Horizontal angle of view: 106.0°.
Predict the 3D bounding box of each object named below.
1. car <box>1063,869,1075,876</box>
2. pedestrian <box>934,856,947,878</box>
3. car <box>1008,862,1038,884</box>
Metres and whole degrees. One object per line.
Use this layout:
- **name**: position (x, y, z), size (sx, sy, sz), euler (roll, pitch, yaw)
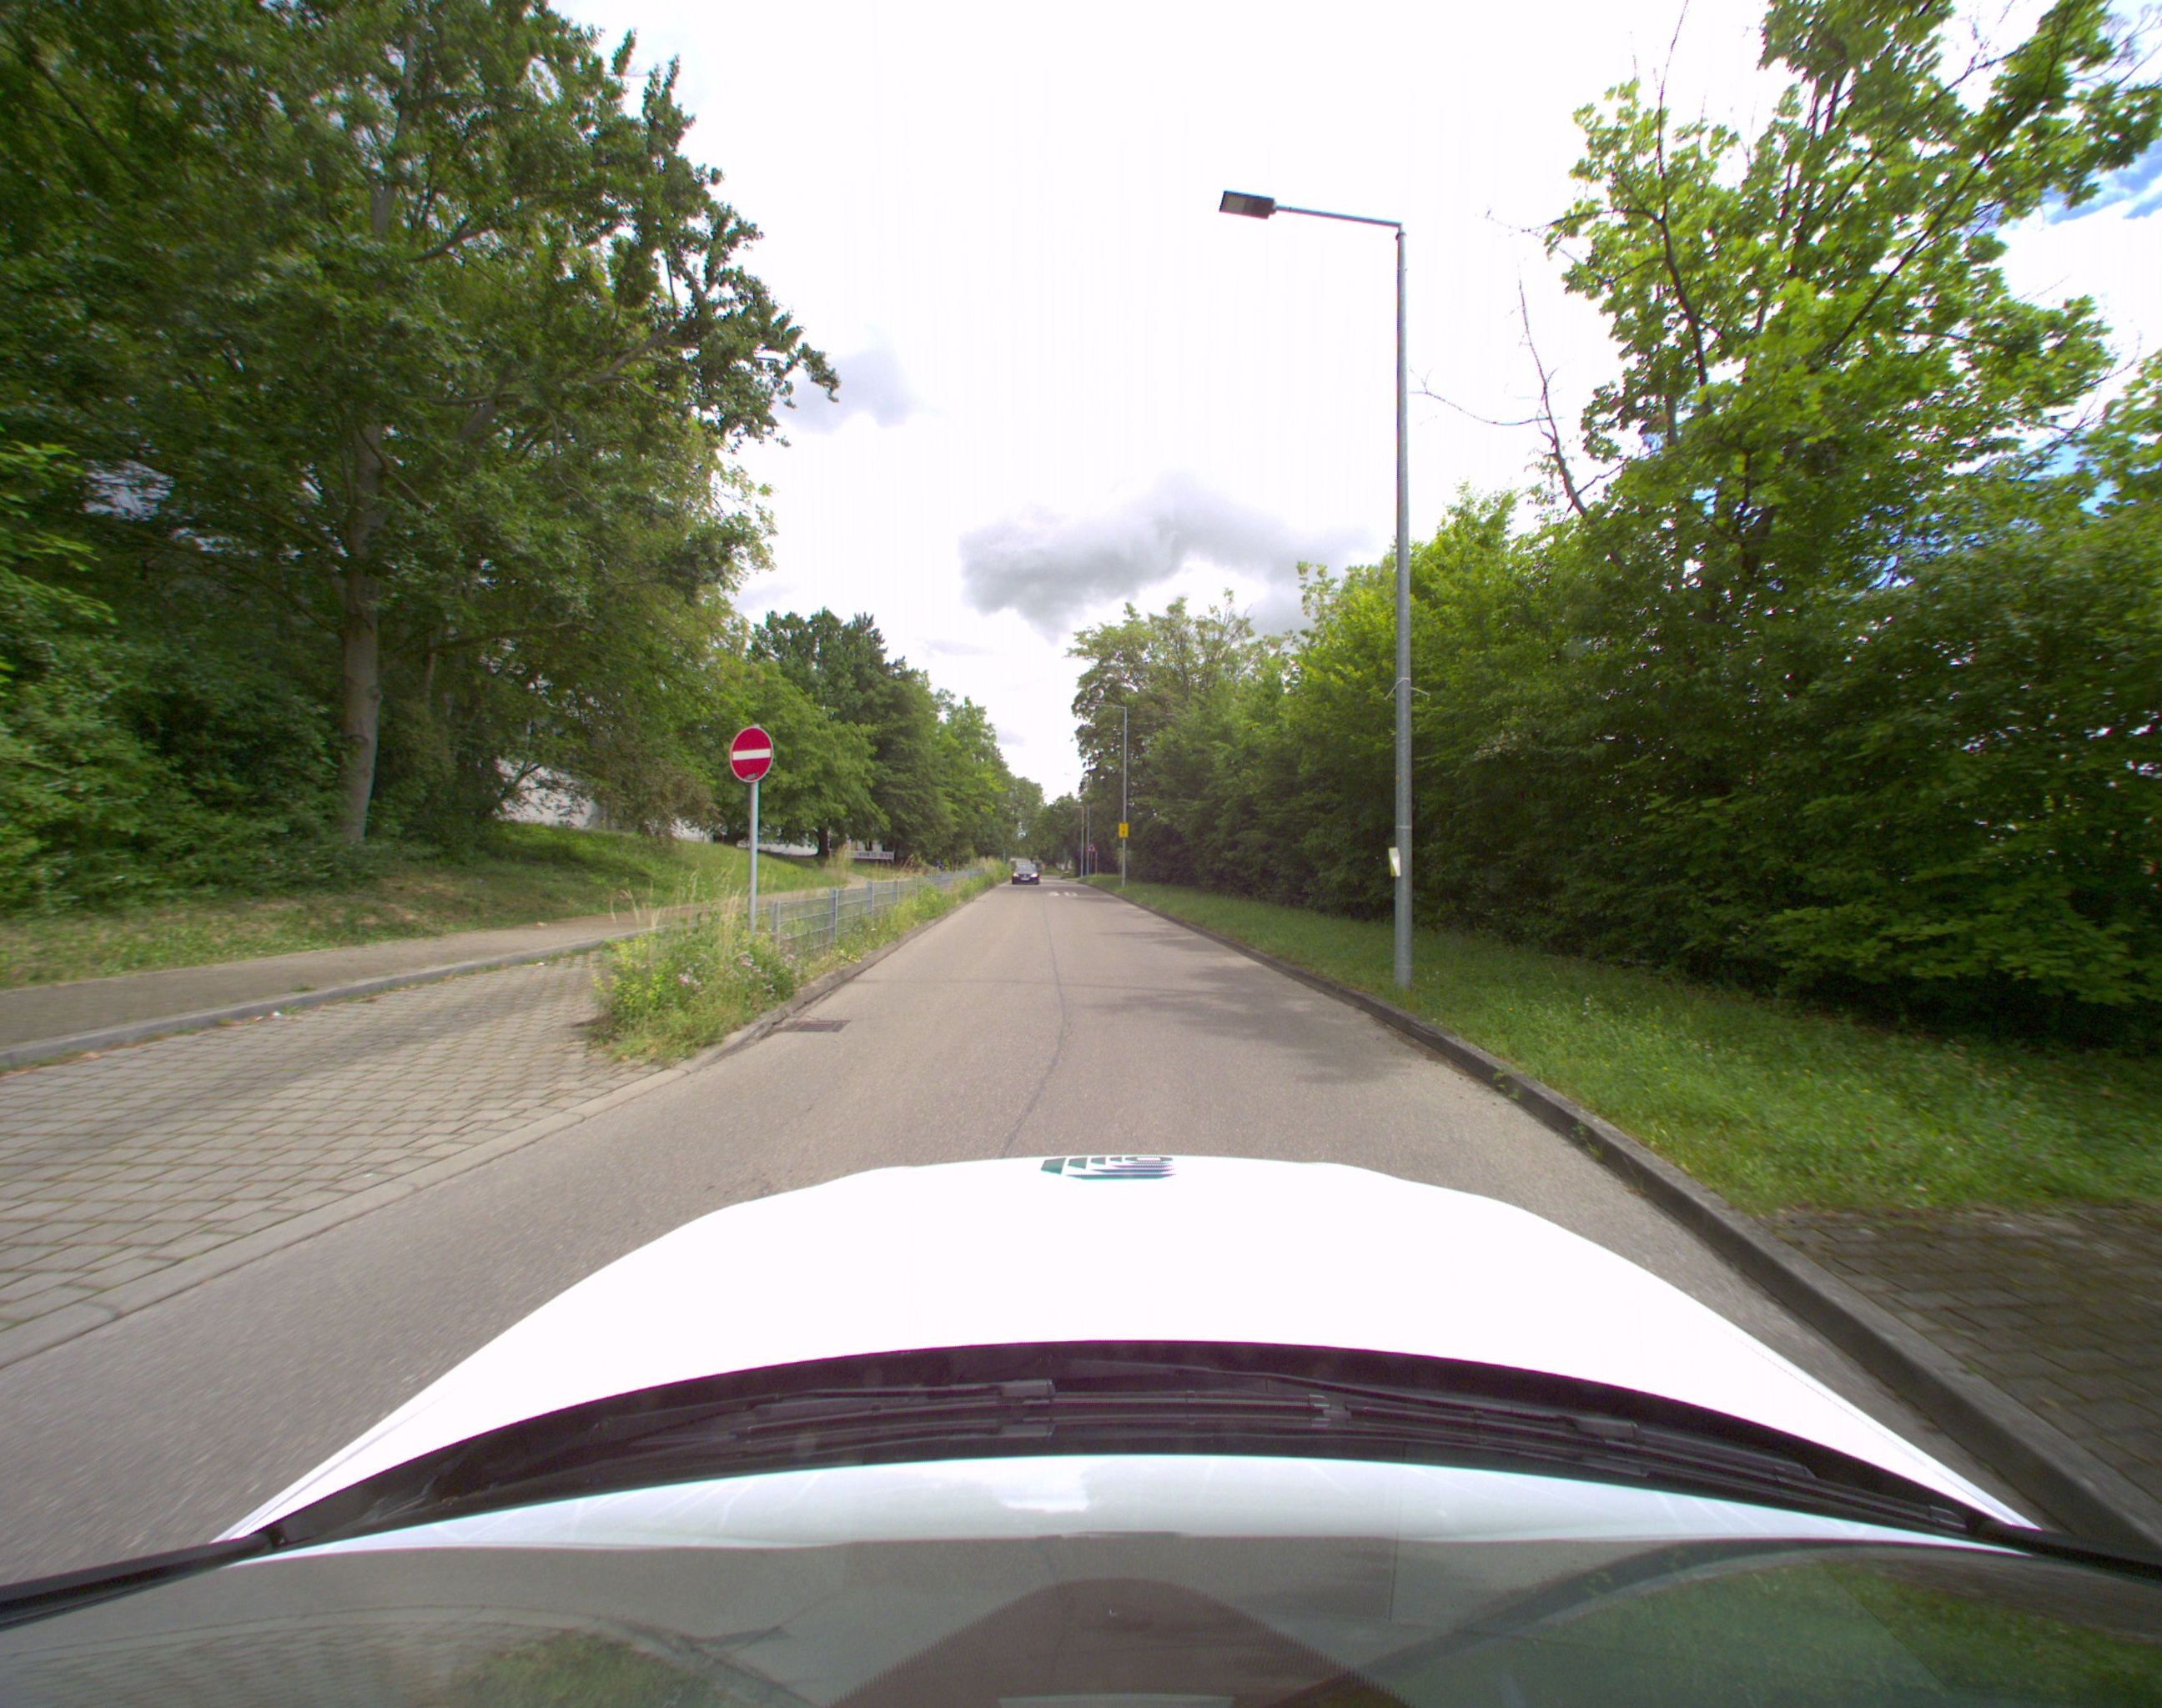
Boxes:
- **car**: position (-2.603, 4.229, 183.656), size (1.847, 1.492, 4.012), euler (-2, -4, 11)
- **pedestrian**: position (-12.915, 1.189, 74.873), size (0.867, 2.014, 0.872), euler (-5, -5, 42)
- **car**: position (-3.683, 1.192, 52.126), size (1.688, 1.349, 4.092), euler (0, 0, -1)
